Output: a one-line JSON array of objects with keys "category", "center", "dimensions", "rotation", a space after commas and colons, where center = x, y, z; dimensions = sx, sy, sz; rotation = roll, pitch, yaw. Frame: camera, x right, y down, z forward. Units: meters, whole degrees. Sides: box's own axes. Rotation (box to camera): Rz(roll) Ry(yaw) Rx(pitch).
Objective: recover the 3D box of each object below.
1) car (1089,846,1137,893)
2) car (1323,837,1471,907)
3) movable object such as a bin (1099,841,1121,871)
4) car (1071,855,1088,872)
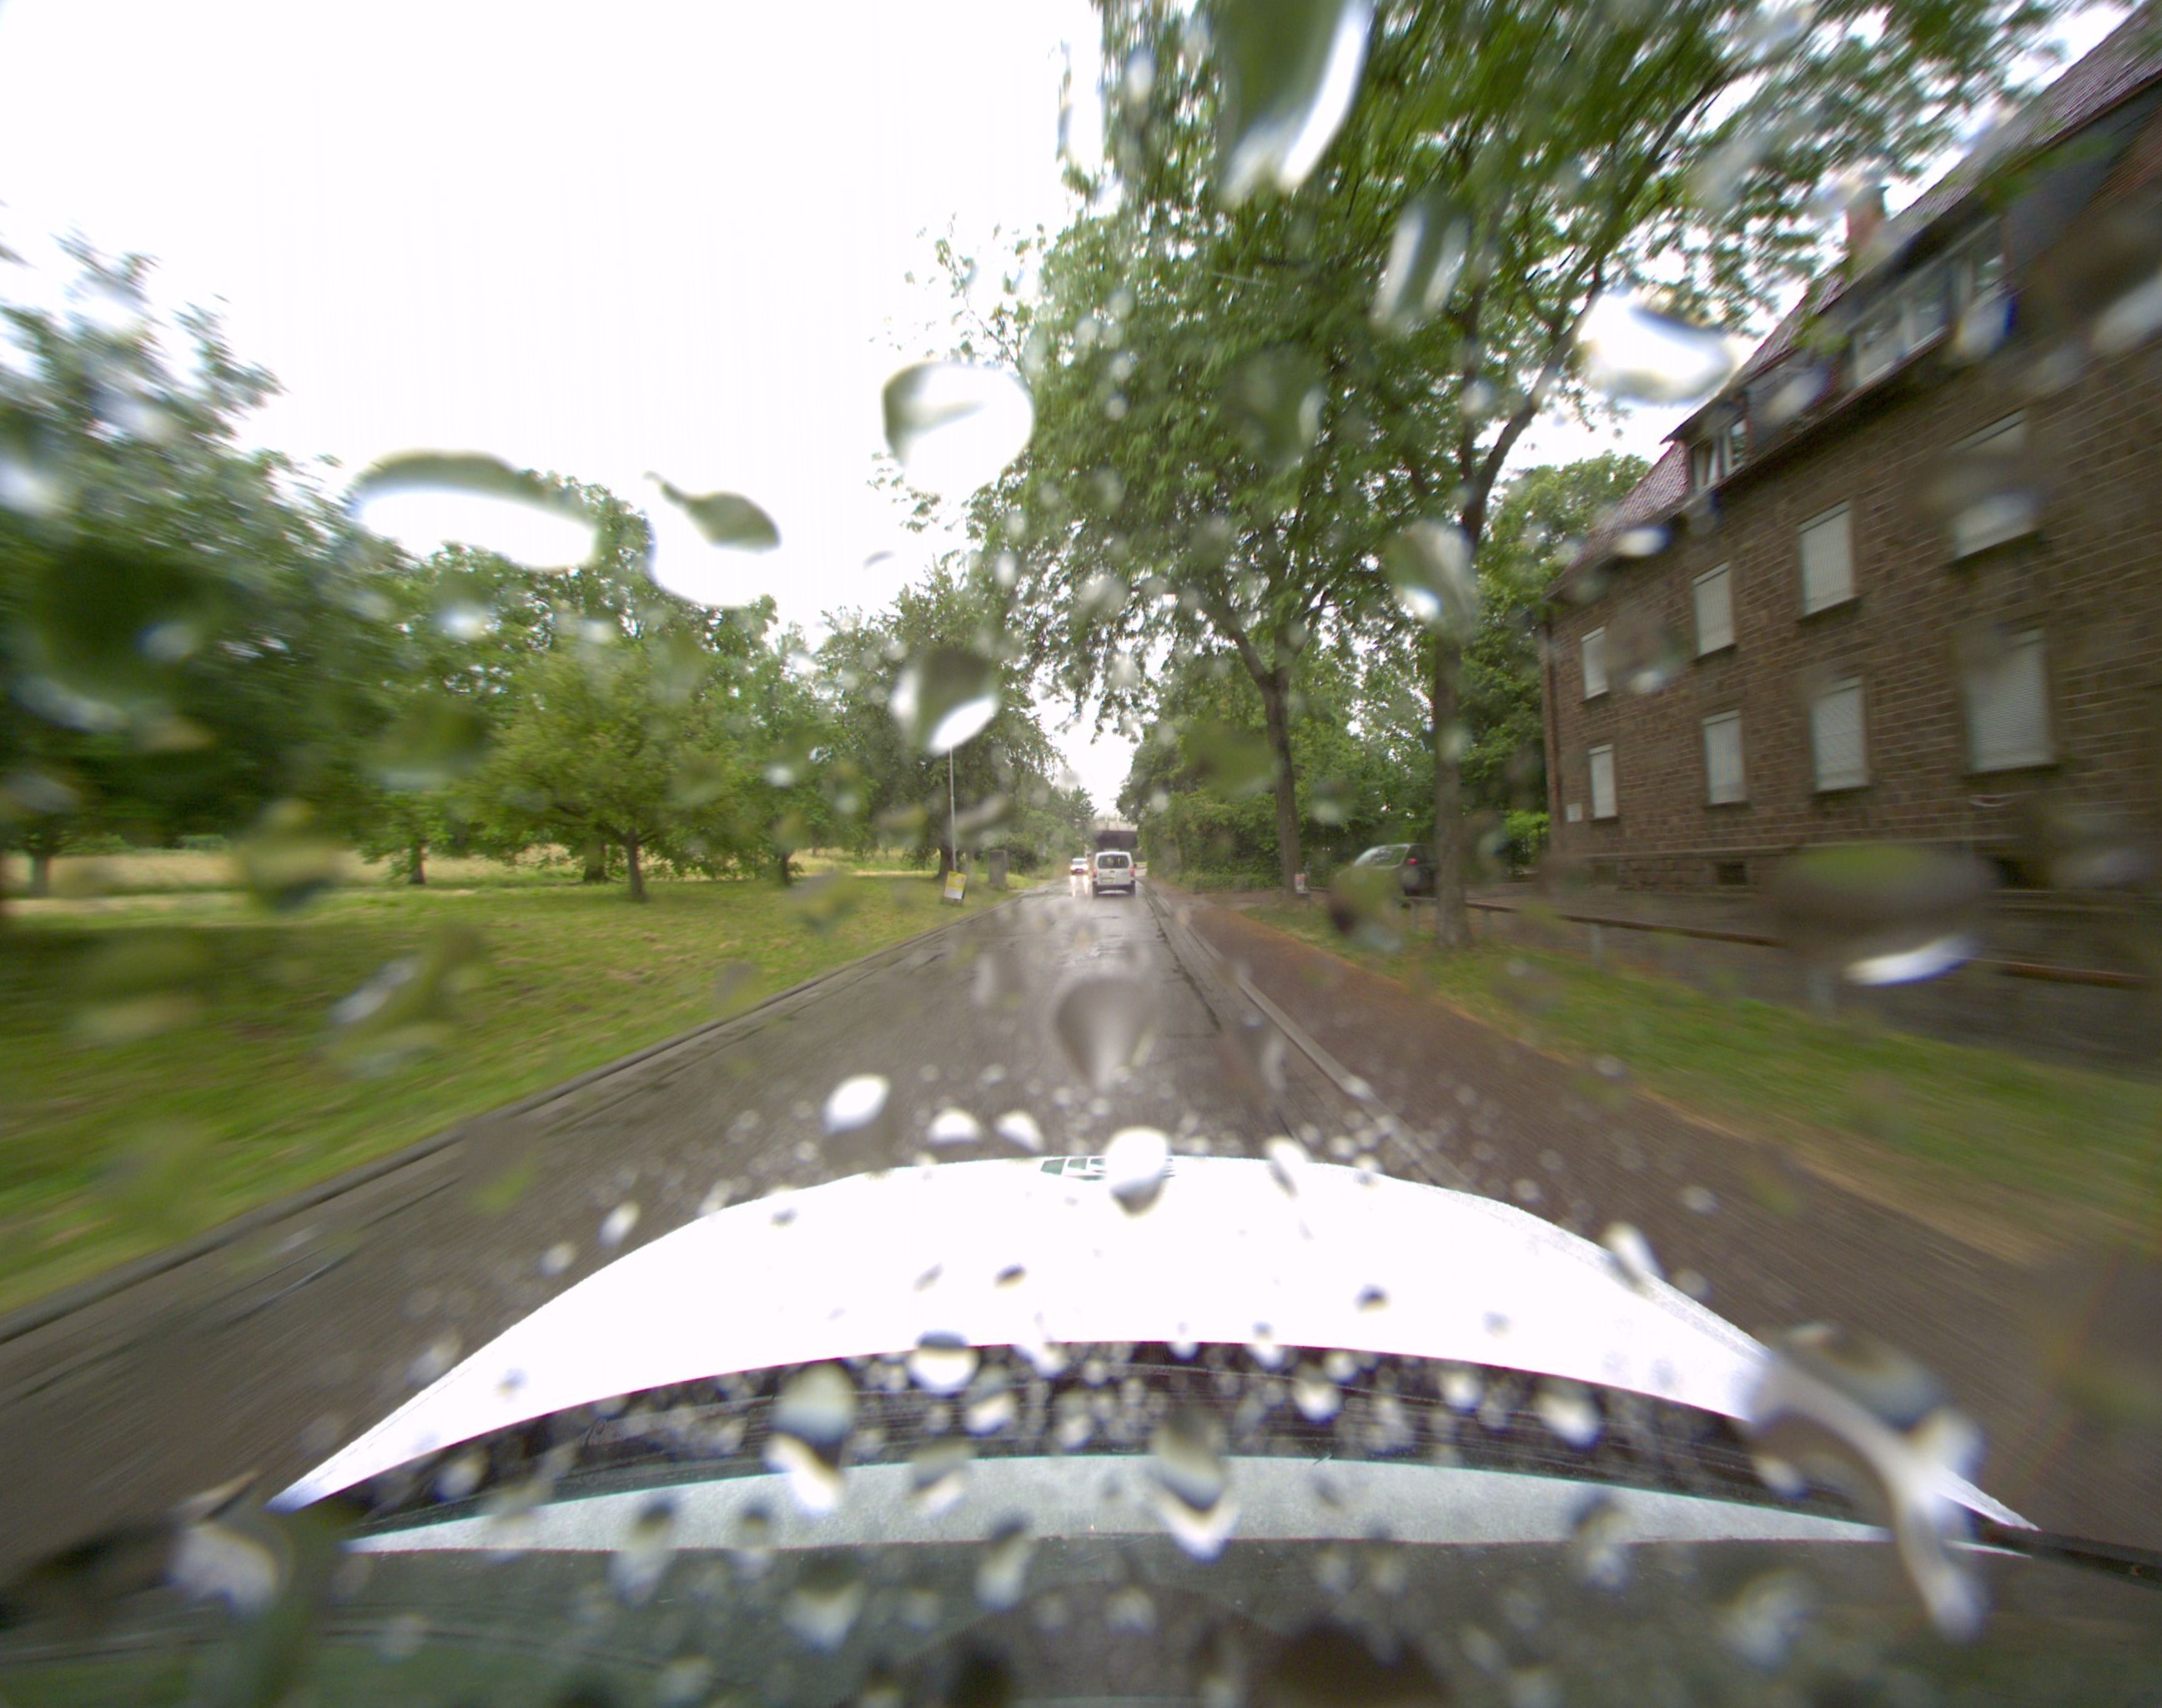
[{"category": "car", "center": [1.391, 0.618, 34.909], "dimensions": [1.889, 1.807, 4.003], "rotation": [-3, 0, 3]}, {"category": "car", "center": [7.872, 0.407, 20.196], "dimensions": [3.628, 1.551, 1.604], "rotation": [-2, -1, -34]}, {"category": "movable object such as a bin", "center": [2.630, 0.188, 73.790], "dimensions": [1.753, 2.548, 4.244], "rotation": [-1, -1, 5]}, {"category": "car", "center": [-0.160, 1.028, 89.005], "dimensions": [1.817, 1.832, 4.307], "rotation": [-1, -1, 1]}]
